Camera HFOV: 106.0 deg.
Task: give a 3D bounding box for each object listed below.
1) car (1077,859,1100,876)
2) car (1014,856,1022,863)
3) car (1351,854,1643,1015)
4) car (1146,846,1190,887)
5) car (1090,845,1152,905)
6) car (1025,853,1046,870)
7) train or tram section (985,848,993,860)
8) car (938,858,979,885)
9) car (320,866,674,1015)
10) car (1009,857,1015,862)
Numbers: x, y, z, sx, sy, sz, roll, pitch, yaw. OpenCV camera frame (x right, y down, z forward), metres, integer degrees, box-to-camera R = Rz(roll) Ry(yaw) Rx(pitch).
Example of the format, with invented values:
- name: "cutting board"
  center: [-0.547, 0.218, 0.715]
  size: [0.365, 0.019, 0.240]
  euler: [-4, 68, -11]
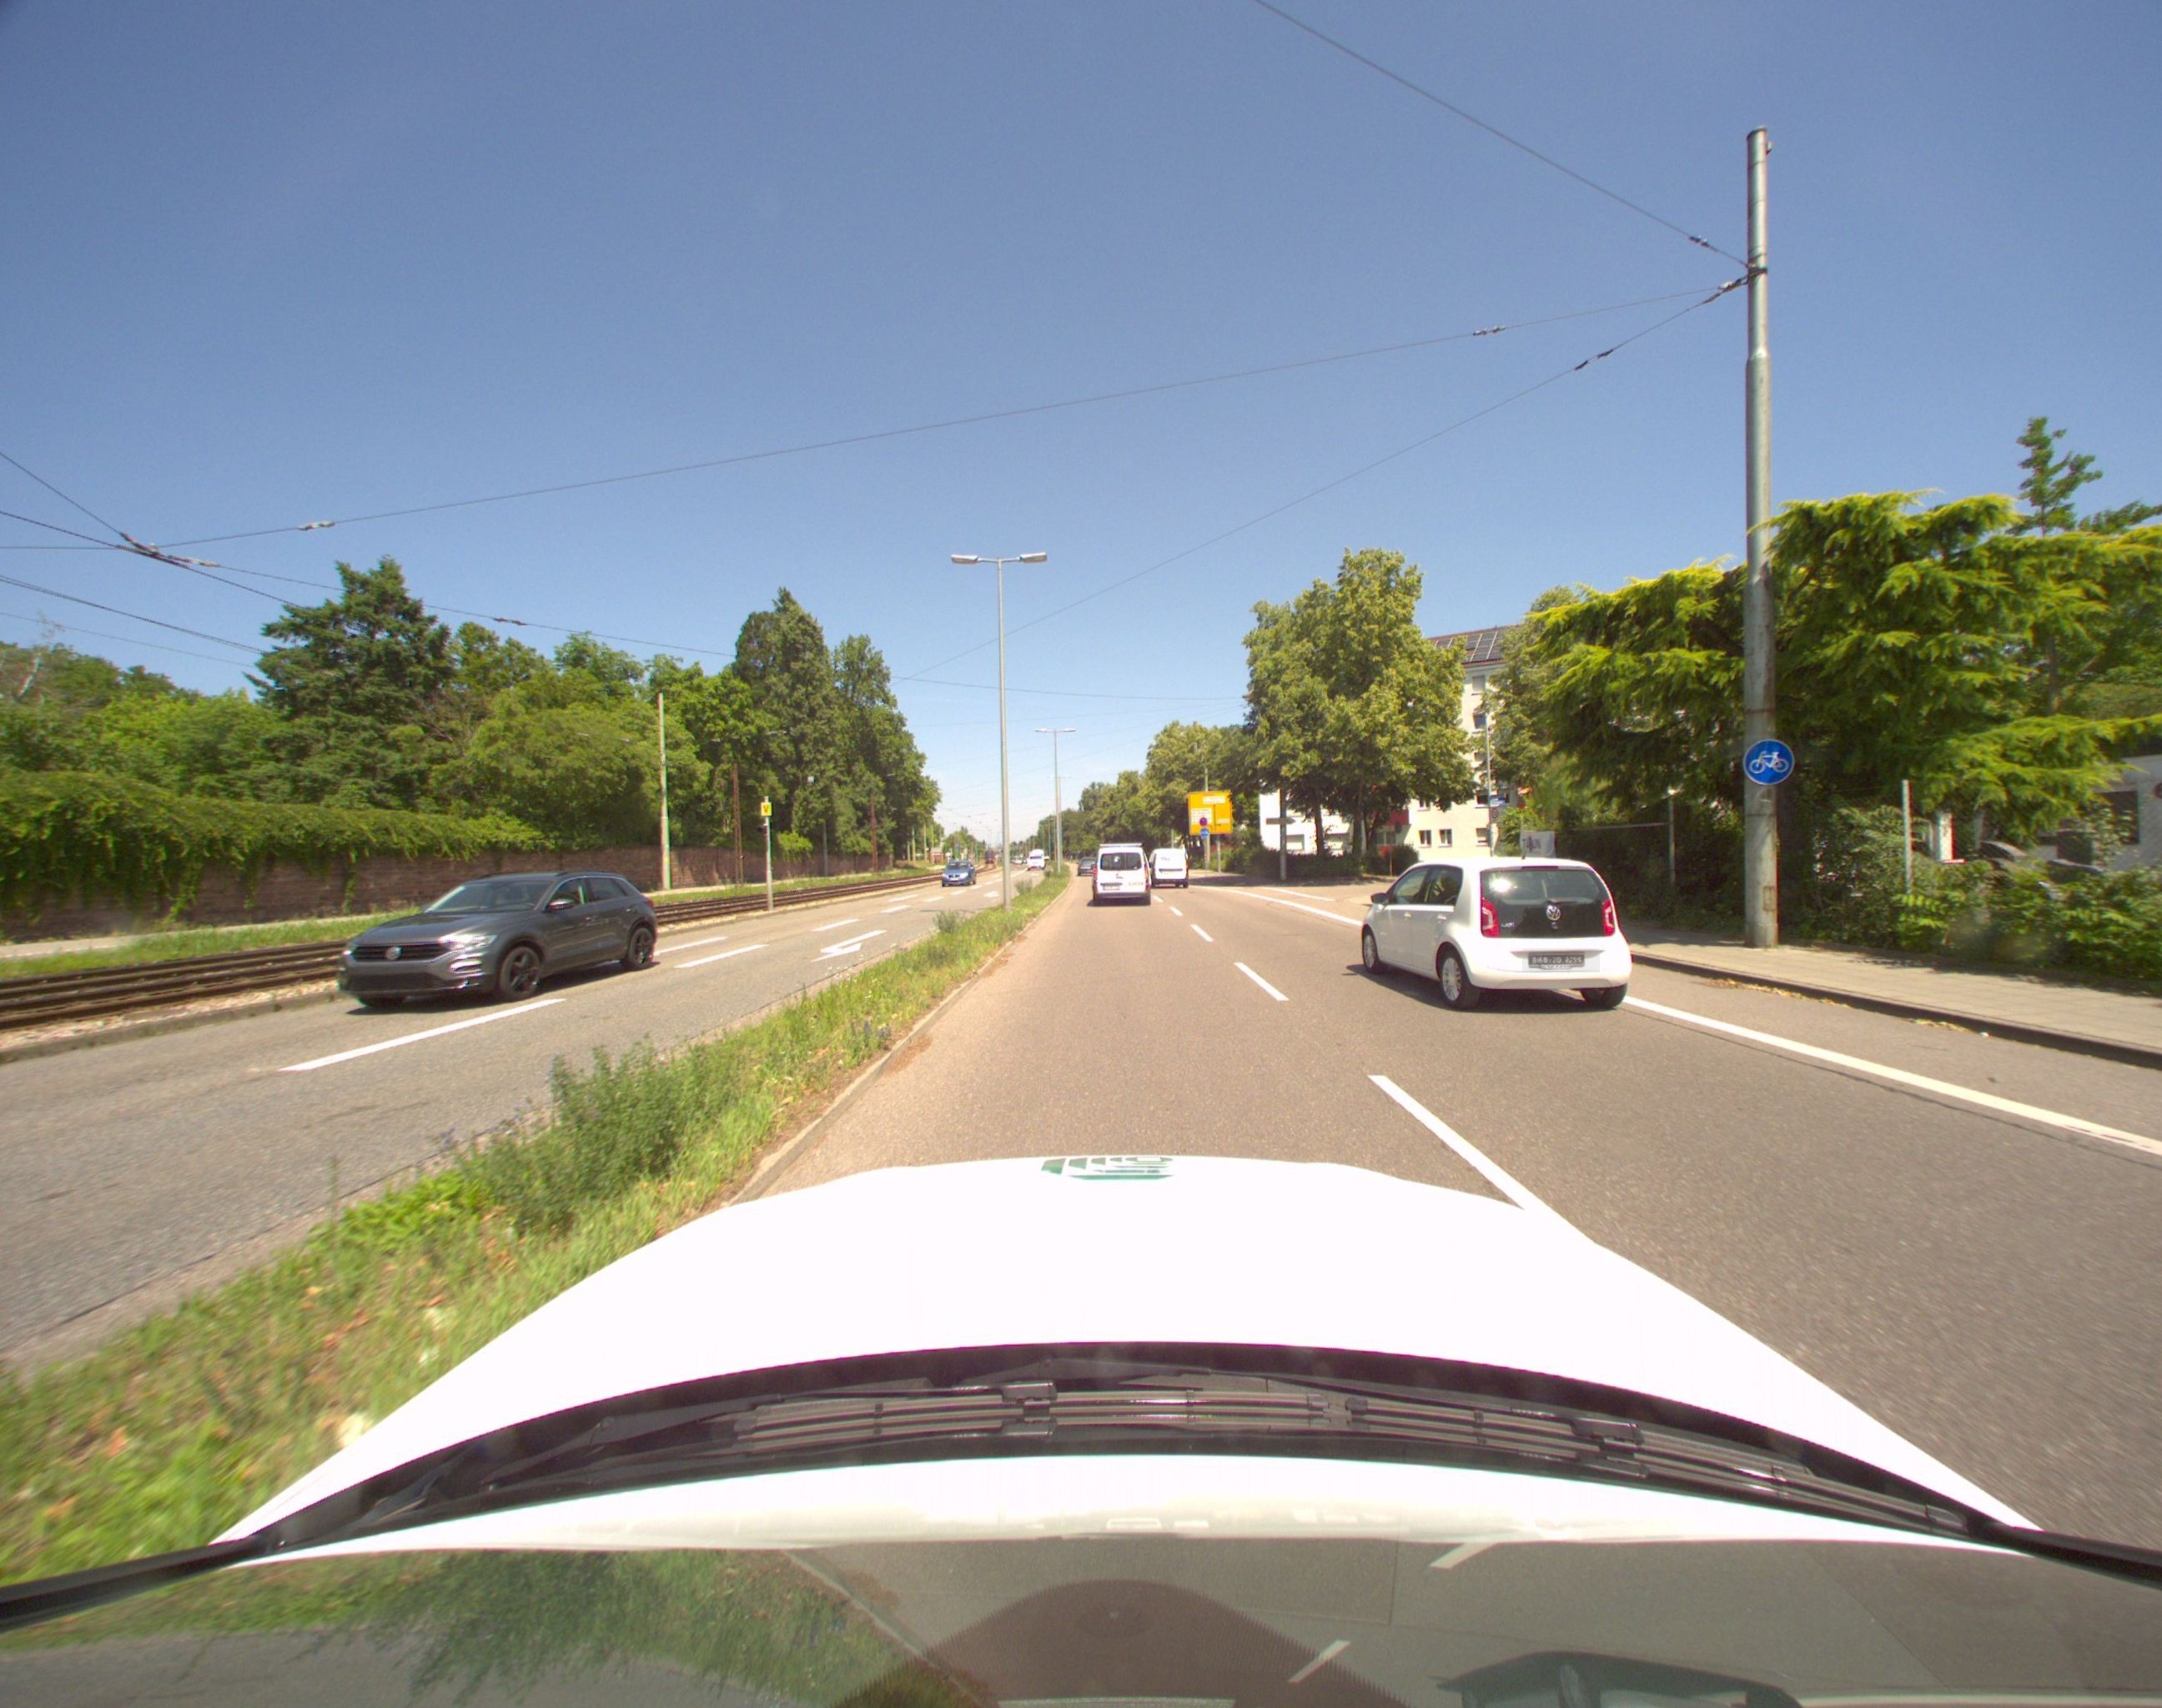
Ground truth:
- name: "car"
  center: [0.629, 0.997, 62.212]
  size: [1.686, 1.215, 3.590]
  euler: [0, 0, 1]
- name: "car"
  center: [-13.444, 1.214, 174.137]
  size: [1.743, 1.567, 3.995]
  euler: [0, 0, -3]
- name: "car"
  center: [4.383, 0.739, 9.185]
  size: [1.604, 1.447, 3.436]
  euler: [0, 1, 1]
- name: "car"
  center: [3.997, 0.558, 37.905]
  size: [1.721, 1.788, 4.065]
  euler: [0, 0, 1]
- name: "car"
  center: [1.270, 0.597, 26.039]
  size: [1.814, 1.739, 4.399]
  euler: [0, 0, 2]
- name: "car"
  center: [-5.149, 0.851, 92.317]
  size: [1.986, 1.816, 4.001]
  euler: [-1, 0, 1]
- name: "train or tram section"
  center: [-25.152, 0.132, 222.878]
  size: [1.992, 3.086, 16.127]
  euler: [0, 0, -7]
- name: "car"
  center: [-7.087, 1.003, 47.433]
  size: [1.692, 1.439, 3.999]
  euler: [-2, 0, 0]
- name: "car"
  center: [-7.448, 0.984, 10.991]
  size: [1.691, 1.512, 4.068]
  euler: [-2, 0, 2]
- name: "car"
  center: [-19.551, 1.506, 230.843]
  size: [1.743, 1.567, 3.995]
  euler: [0, 0, -3]
